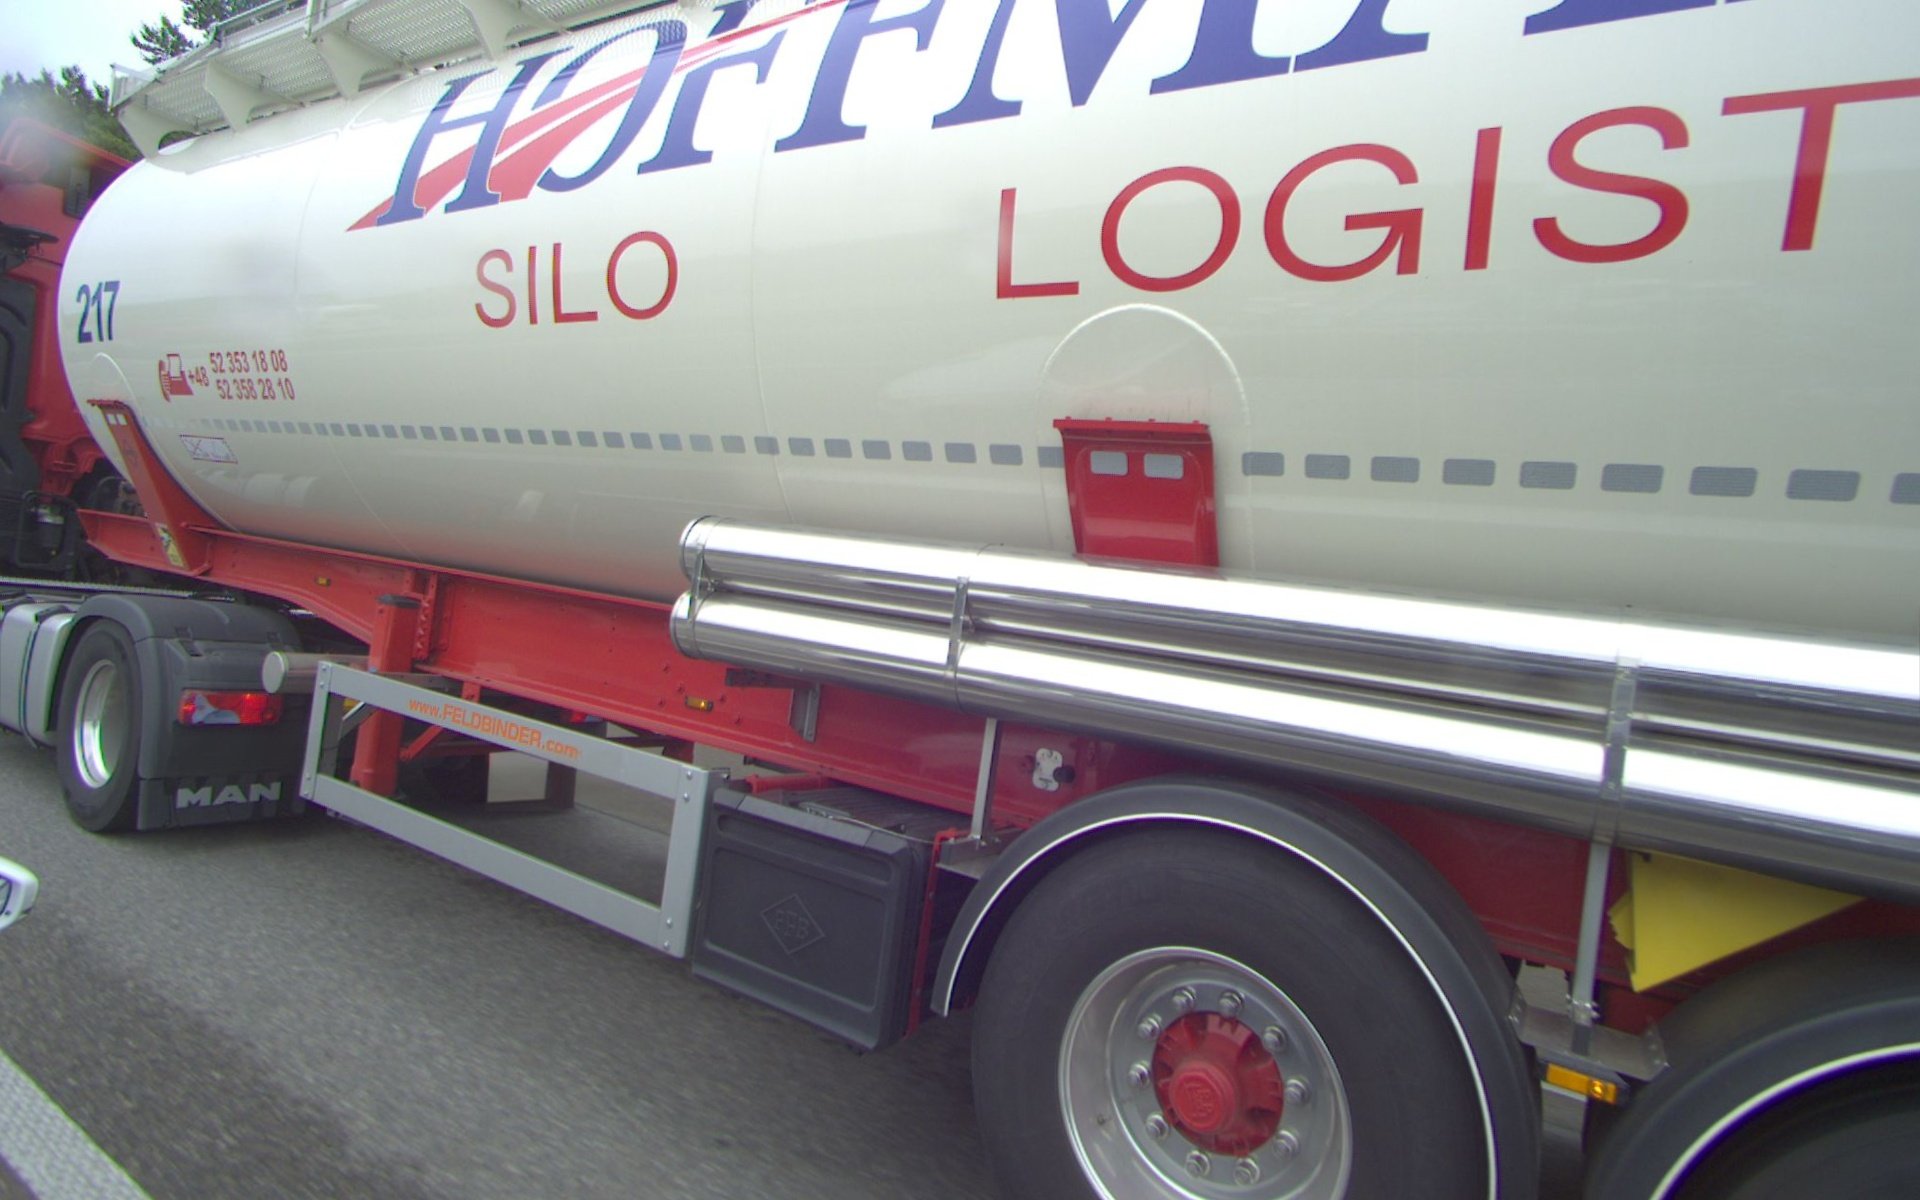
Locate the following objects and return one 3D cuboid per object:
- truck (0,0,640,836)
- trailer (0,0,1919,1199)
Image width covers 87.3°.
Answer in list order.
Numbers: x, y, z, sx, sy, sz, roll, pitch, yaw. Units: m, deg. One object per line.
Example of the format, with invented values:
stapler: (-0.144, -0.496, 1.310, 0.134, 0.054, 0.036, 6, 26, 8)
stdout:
truck: (-5.855, -1.115, 7.443, 6.447, 3.960, 2.699, 7, 0, 31)
trailer: (0.149, -0.420, 3.693, 12.911, 3.986, 2.672, 7, 0, 31)
